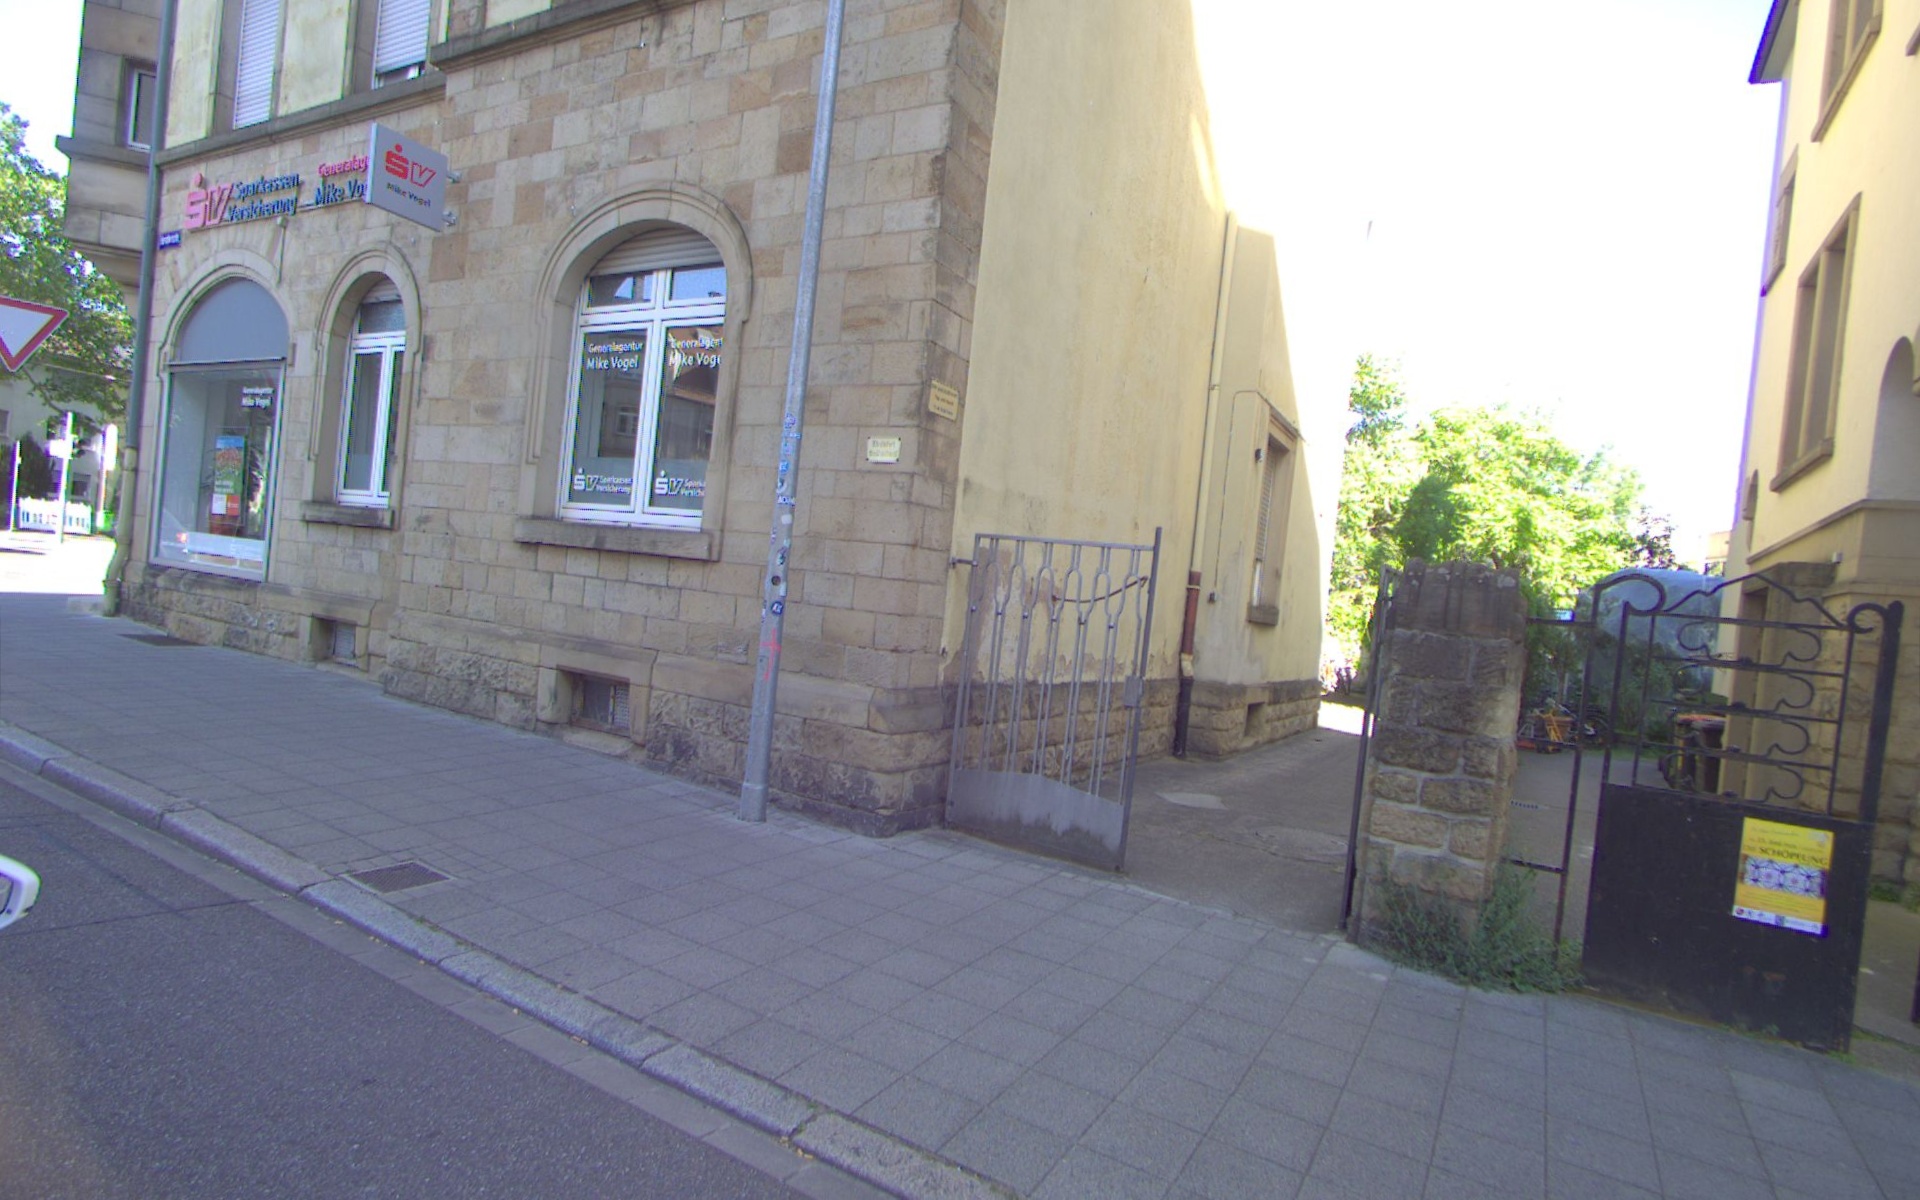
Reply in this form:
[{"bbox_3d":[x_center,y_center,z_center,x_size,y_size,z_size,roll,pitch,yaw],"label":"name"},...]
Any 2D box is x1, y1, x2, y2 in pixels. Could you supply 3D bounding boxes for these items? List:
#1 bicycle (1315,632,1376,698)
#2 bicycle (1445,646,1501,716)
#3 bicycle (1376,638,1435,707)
[{"bbox_3d":[9.975,1.641,25.970,0.904,1.532,2.667,6,2,31],"label":"bicycle"},{"bbox_3d":[12.593,1.935,24.640,0.904,1.532,2.667,6,2,31],"label":"bicycle"},{"bbox_3d":[11.208,1.776,25.253,0.904,1.532,2.667,6,2,31],"label":"bicycle"}]
